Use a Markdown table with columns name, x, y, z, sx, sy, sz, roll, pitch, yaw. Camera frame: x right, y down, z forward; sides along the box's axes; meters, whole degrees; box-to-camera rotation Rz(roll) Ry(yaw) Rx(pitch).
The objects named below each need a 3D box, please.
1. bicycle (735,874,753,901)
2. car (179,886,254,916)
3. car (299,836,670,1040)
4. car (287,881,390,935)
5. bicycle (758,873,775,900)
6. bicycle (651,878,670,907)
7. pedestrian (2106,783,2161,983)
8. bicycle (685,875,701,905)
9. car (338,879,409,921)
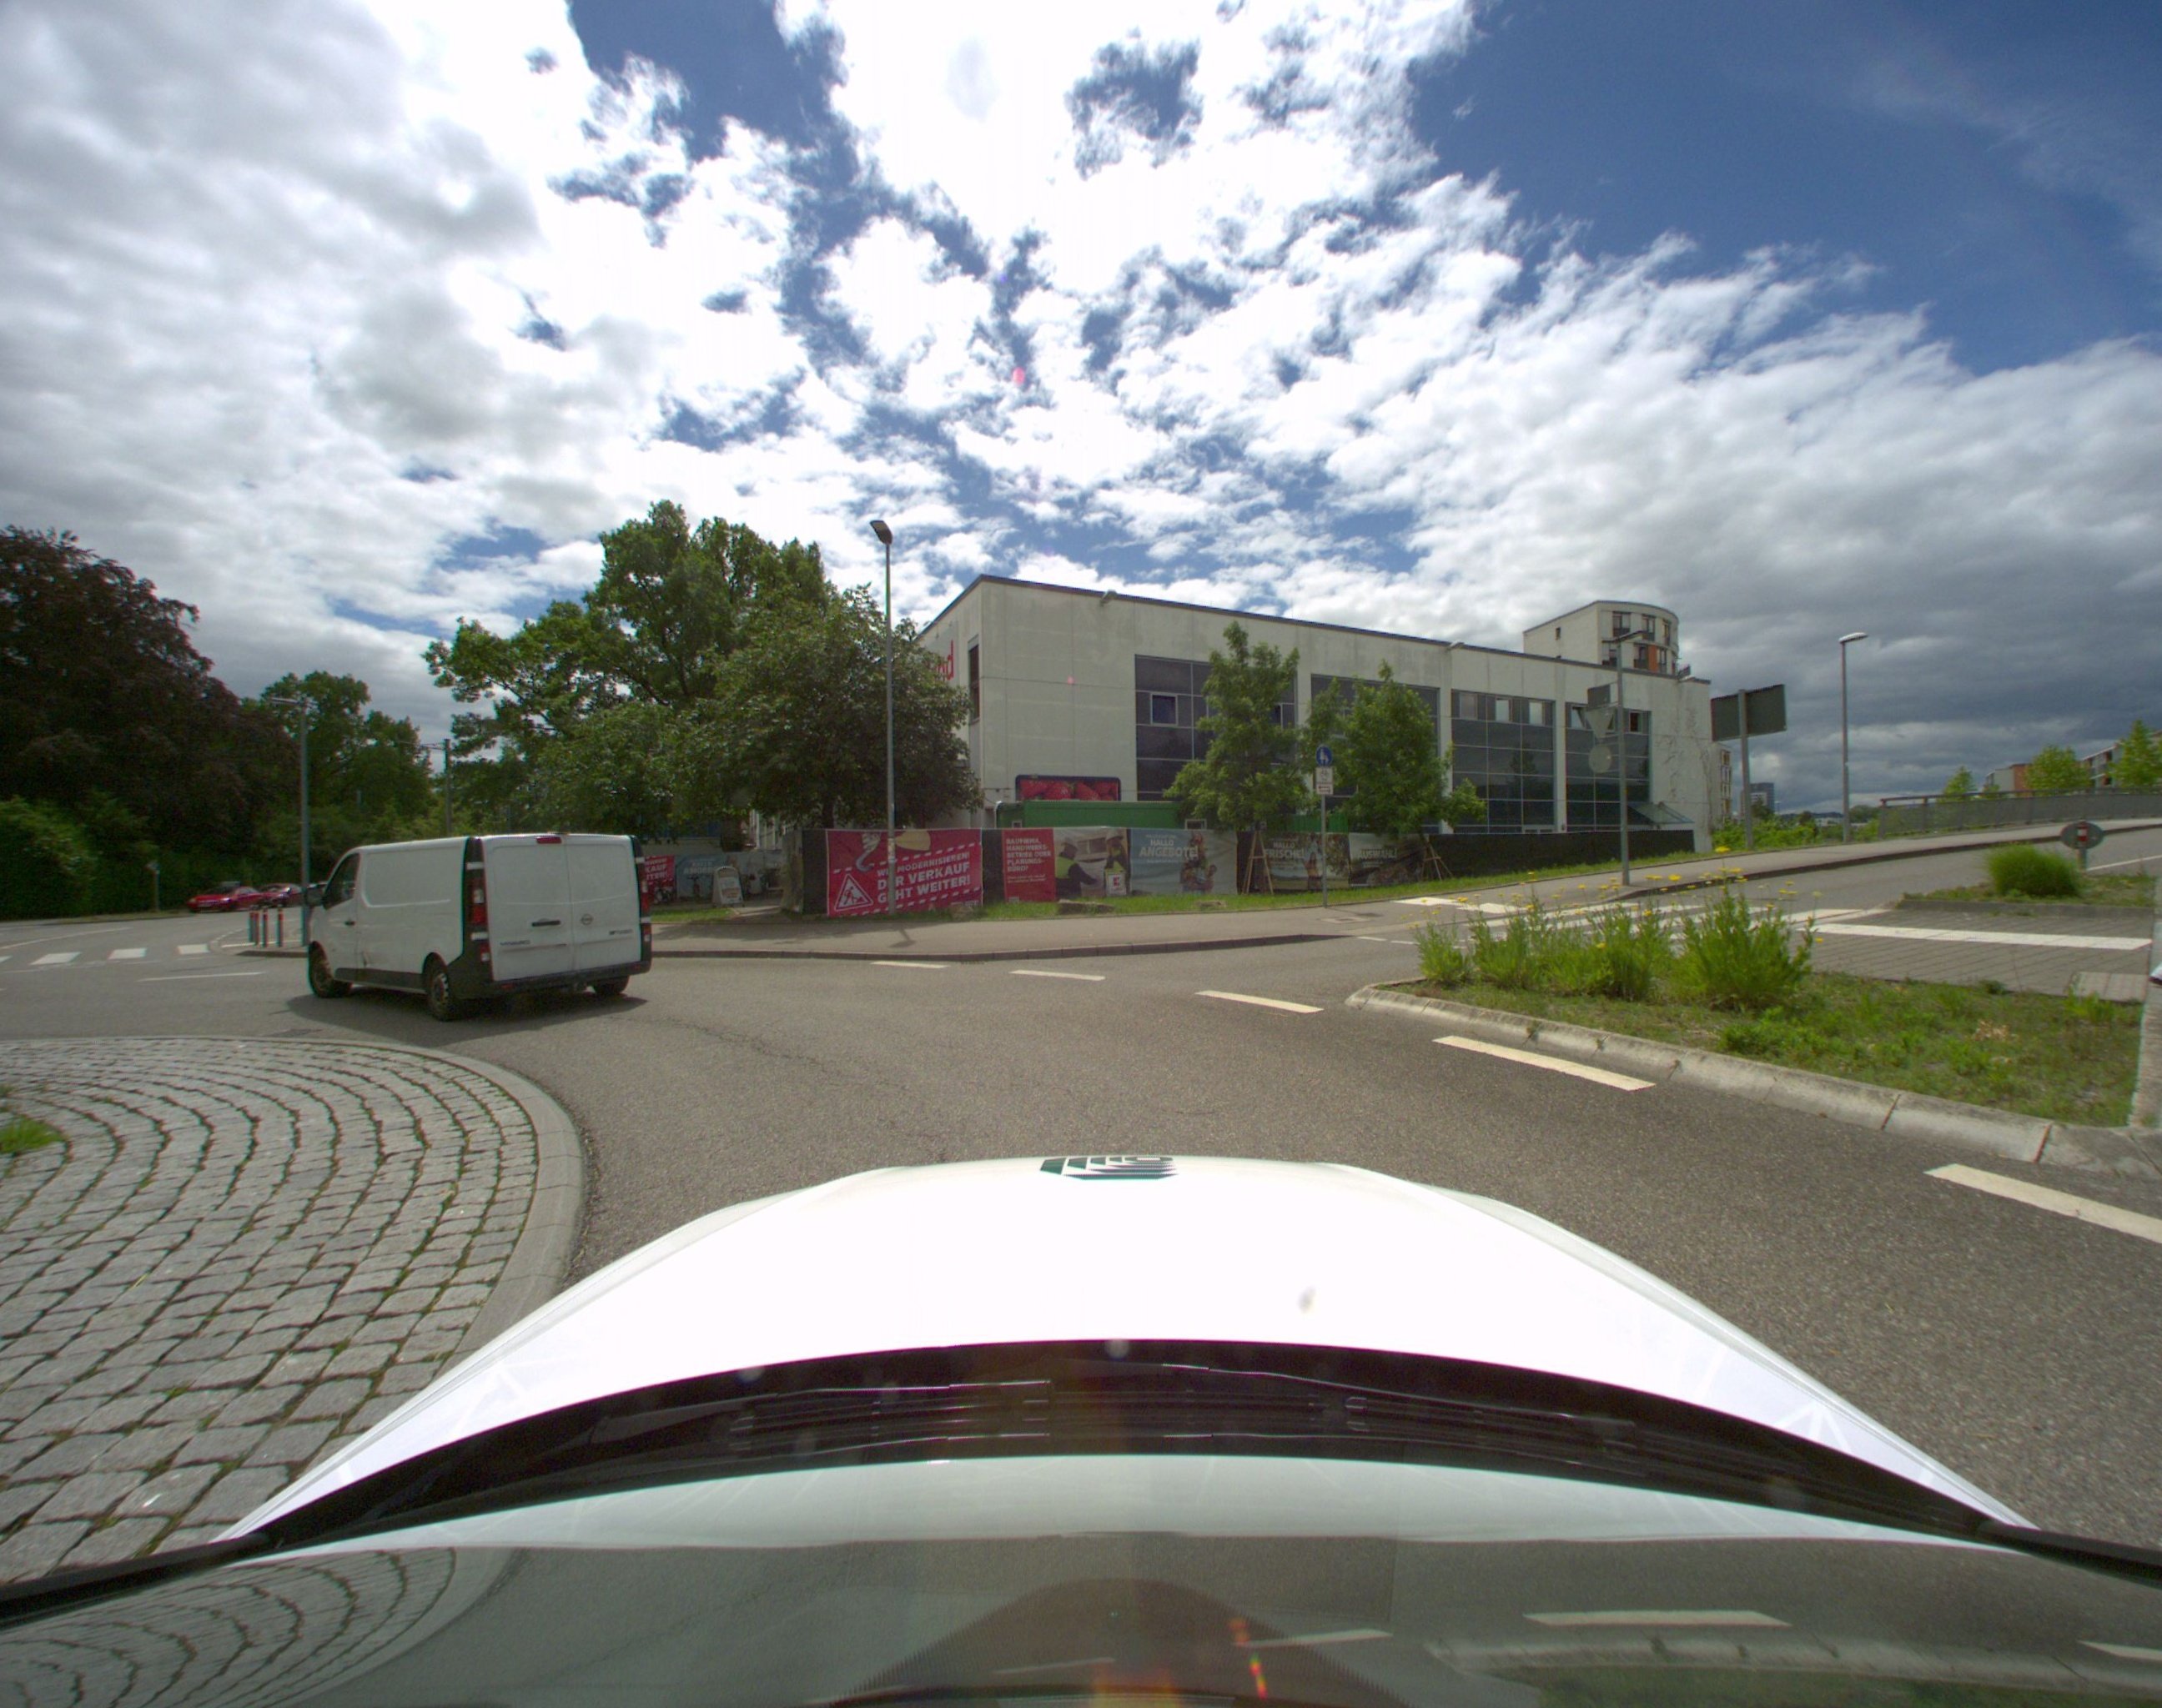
| name | x | y | z | sx | sy | sz | roll | pitch | yaw |
| --- | --- | --- | --- | --- | --- | --- | --- | --- | --- |
| bicycle | -13.840 | 1.356 | 33.439 | 0.632 | 1.049 | 1.954 | 0 | 0 | -23 |
| car | -48.495 | 2.621 | 45.780 | 2.078 | 1.386 | 4.004 | -1 | 1 | -35 |
| car | -7.430 | 0.797 | 9.997 | 4.929 | 1.945 | 2.054 | 0 | 0 | 33 |
| car | -25.566 | 1.788 | 28.200 | 1.946 | 1.537 | 3.885 | -1 | 1 | -32 |
| bicycle | -12.934 | 1.317 | 33.486 | 0.632 | 1.064 | 1.955 | 1 | 0 | -21 |
| bicycle | -16.517 | 1.483 | 31.964 | 0.633 | 1.049 | 2.052 | 1 | 0 | -28 |
| pedestrian | 8.841 | 0.230 | 6.354 | 0.899 | 1.541 | 1.025 | 1 | -1 | -39 |
| bicycle | -15.549 | 1.423 | 32.643 | 0.531 | 1.094 | 2.055 | 1 | 0 | -24 |
| car | -29.966 | 1.899 | 34.617 | 1.934 | 1.500 | 3.882 | -1 | 1 | -36 |
